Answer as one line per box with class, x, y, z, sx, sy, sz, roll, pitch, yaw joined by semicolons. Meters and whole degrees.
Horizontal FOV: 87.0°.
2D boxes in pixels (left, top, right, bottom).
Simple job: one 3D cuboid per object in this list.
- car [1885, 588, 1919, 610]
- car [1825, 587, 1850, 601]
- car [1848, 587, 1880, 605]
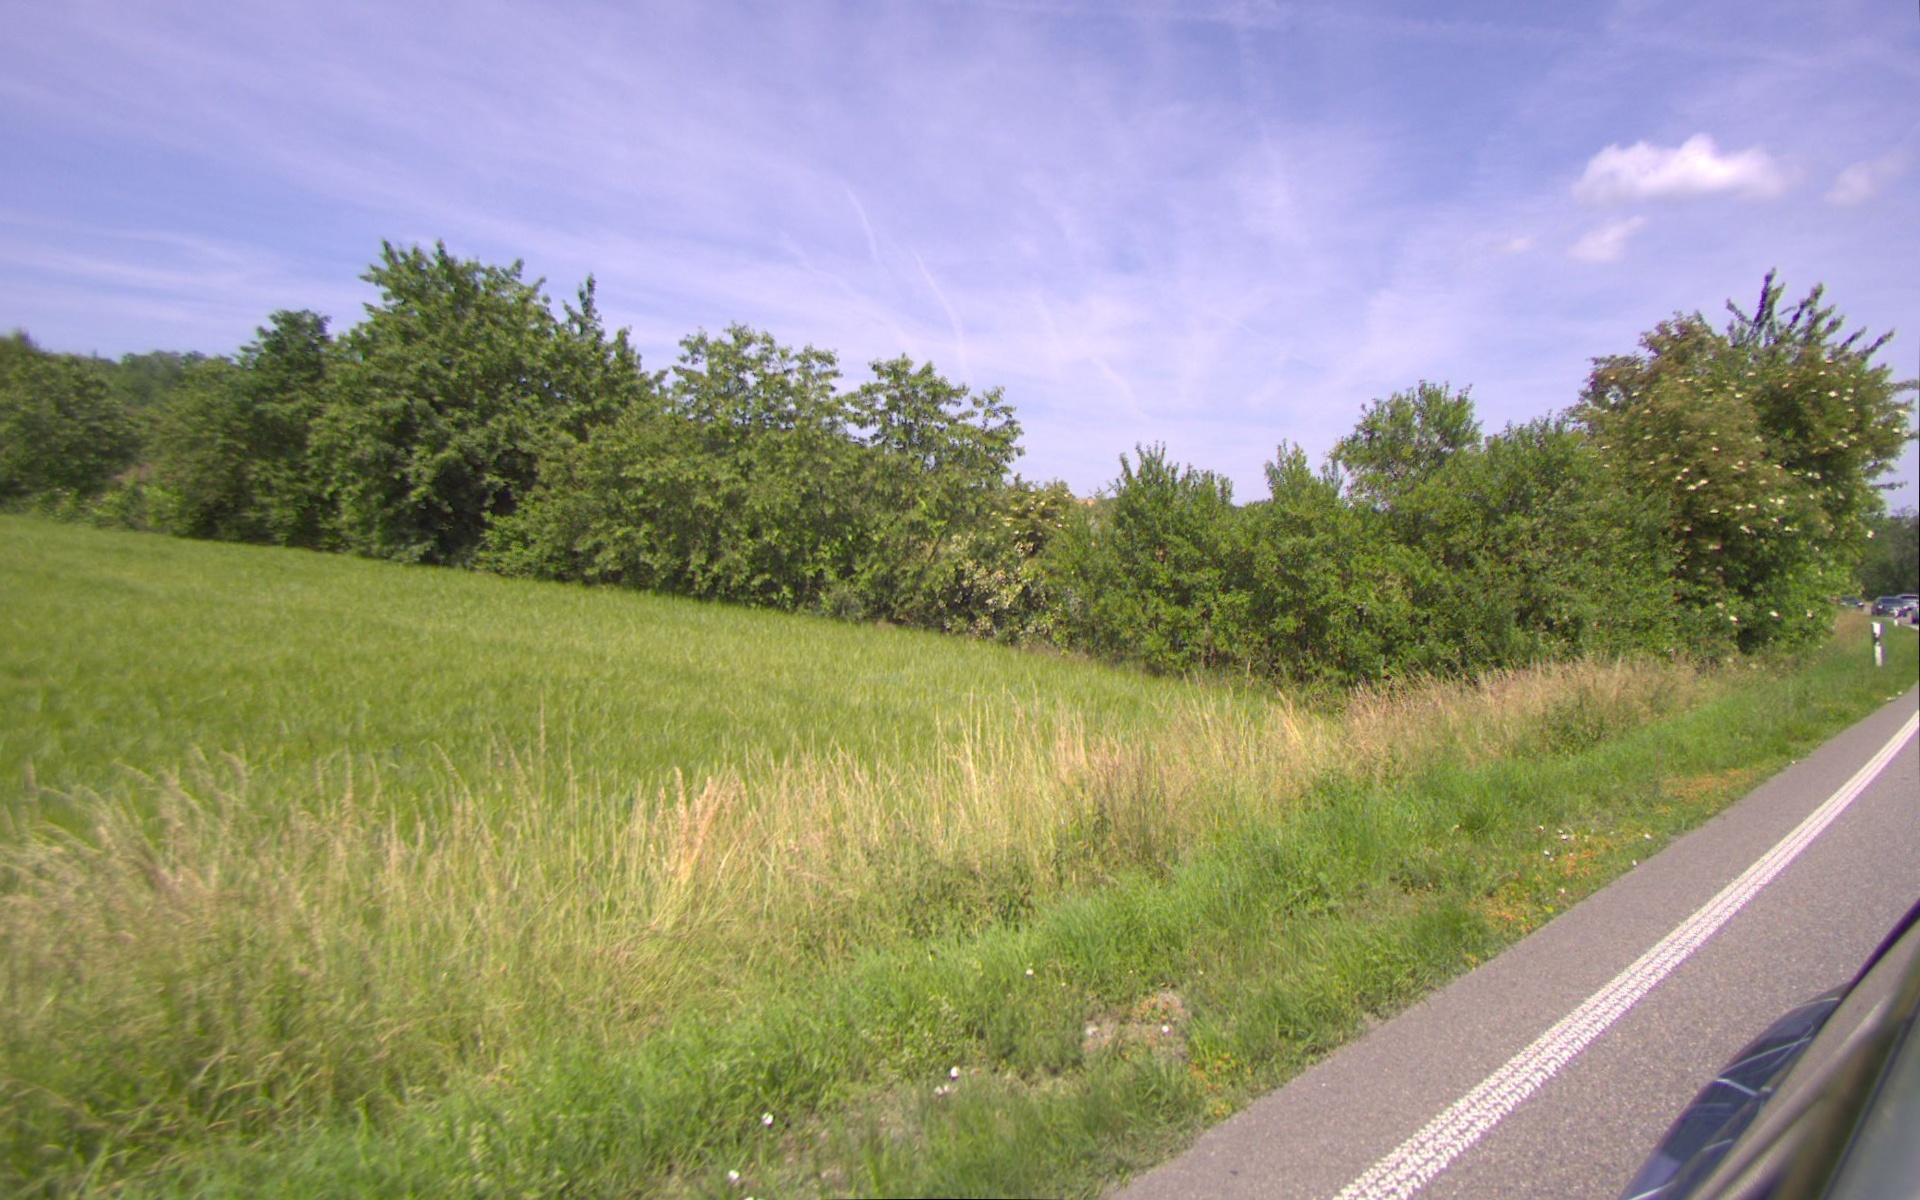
car;72.226;-0.101;77.442;1.923;1.467;4.018;5;5;40
car;105.993;-0.757;122.258;1.921;1.467;3.945;4;3;38
car;85.184;-0.389;95.403;1.921;1.467;3.945;4;3;38
